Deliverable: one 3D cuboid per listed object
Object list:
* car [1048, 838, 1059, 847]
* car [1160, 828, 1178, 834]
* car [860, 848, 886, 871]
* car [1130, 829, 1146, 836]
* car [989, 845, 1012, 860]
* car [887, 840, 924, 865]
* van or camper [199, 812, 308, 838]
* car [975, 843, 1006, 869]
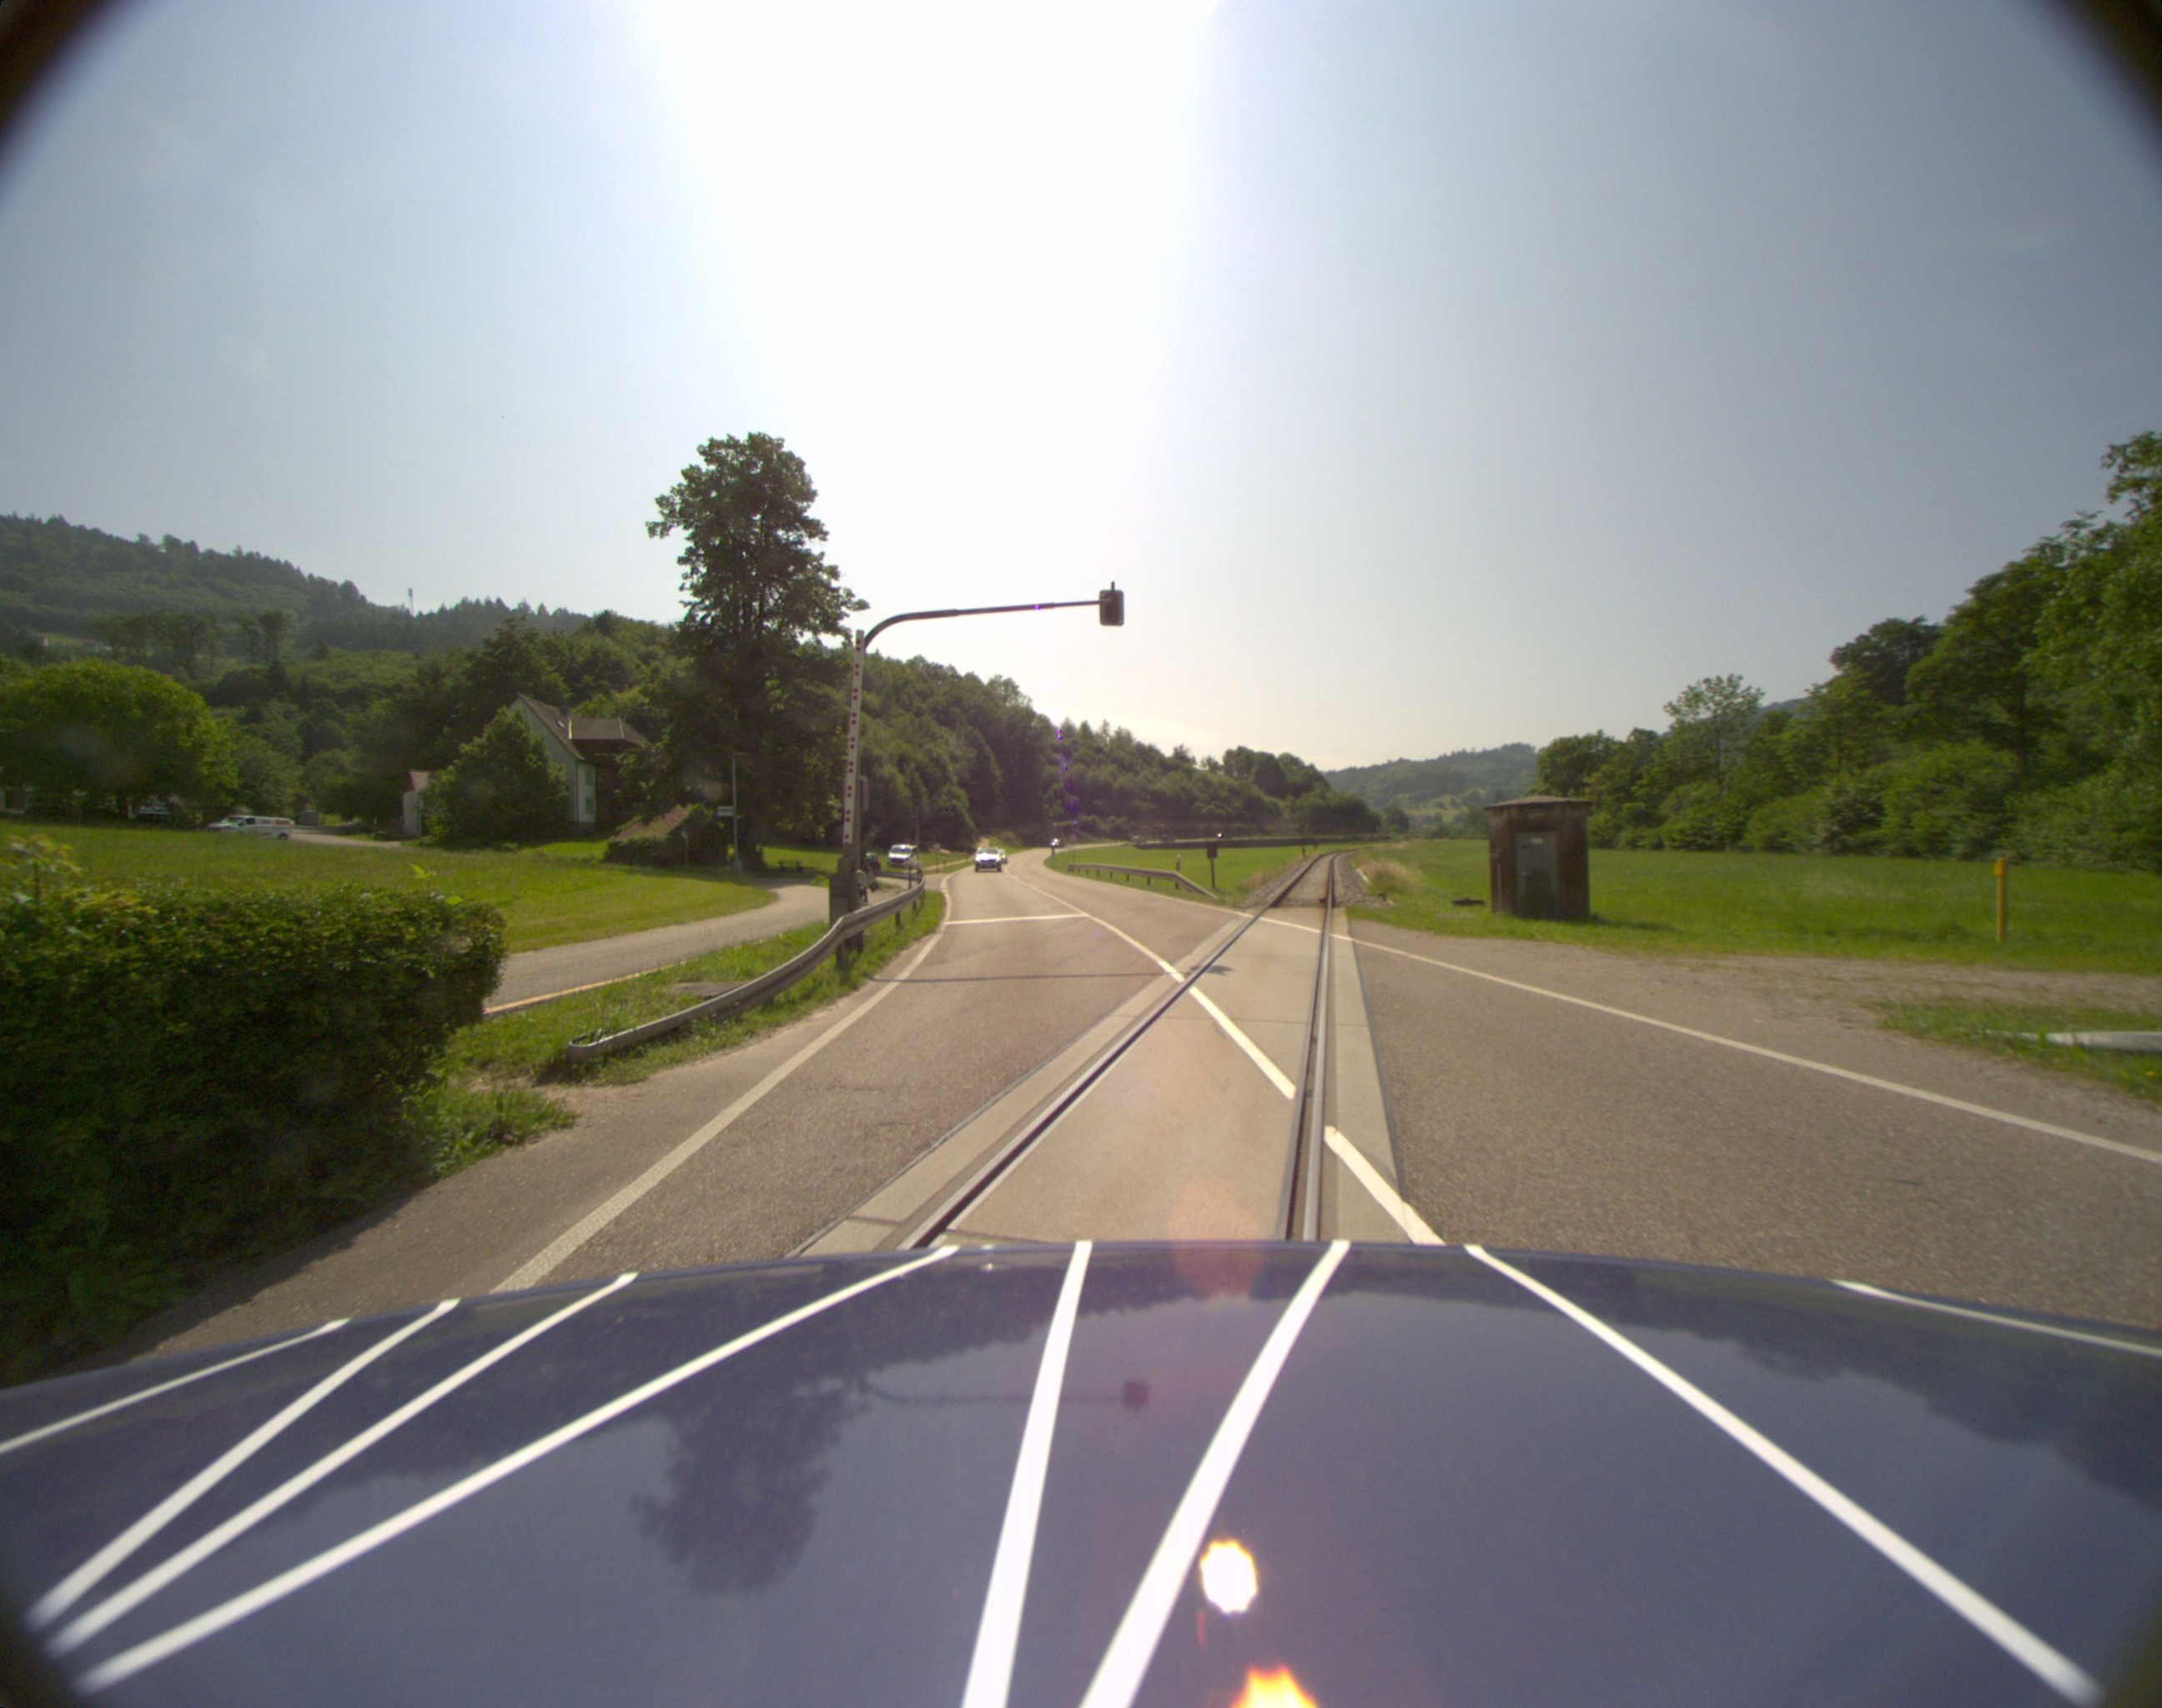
[{"bbox_3d":[-5.590,-2.427,154.321,1.998,1.775,4.000,0,1,4],"label":"car"},{"bbox_3d":[22.469,-5.832,193.521,4.519,1.614,1.867,-2,0,-43],"label":"car"},{"bbox_3d":[-14.935,0.348,54.379,1.680,1.449,3.708,1,2,-16],"label":"car"},{"bbox_3d":[13.951,-5.134,185.160,1.915,1.704,4.168,1,2,40],"label":"car"},{"bbox_3d":[-8.344,-0.186,78.776,2.147,1.482,4.669,0,1,-3],"label":"car"},{"bbox_3d":[-14.471,-0.137,62.938,2.005,1.838,4.866,4,1,-3],"label":"car"},{"bbox_3d":[-66.020,-2.304,60.802,2.817,1.938,5.433,0,1,-3],"label":"van or camper"},{"bbox_3d":[-6.707,0.131,55.908,2.119,1.804,4.450,0,1,-9],"label":"car"}]
